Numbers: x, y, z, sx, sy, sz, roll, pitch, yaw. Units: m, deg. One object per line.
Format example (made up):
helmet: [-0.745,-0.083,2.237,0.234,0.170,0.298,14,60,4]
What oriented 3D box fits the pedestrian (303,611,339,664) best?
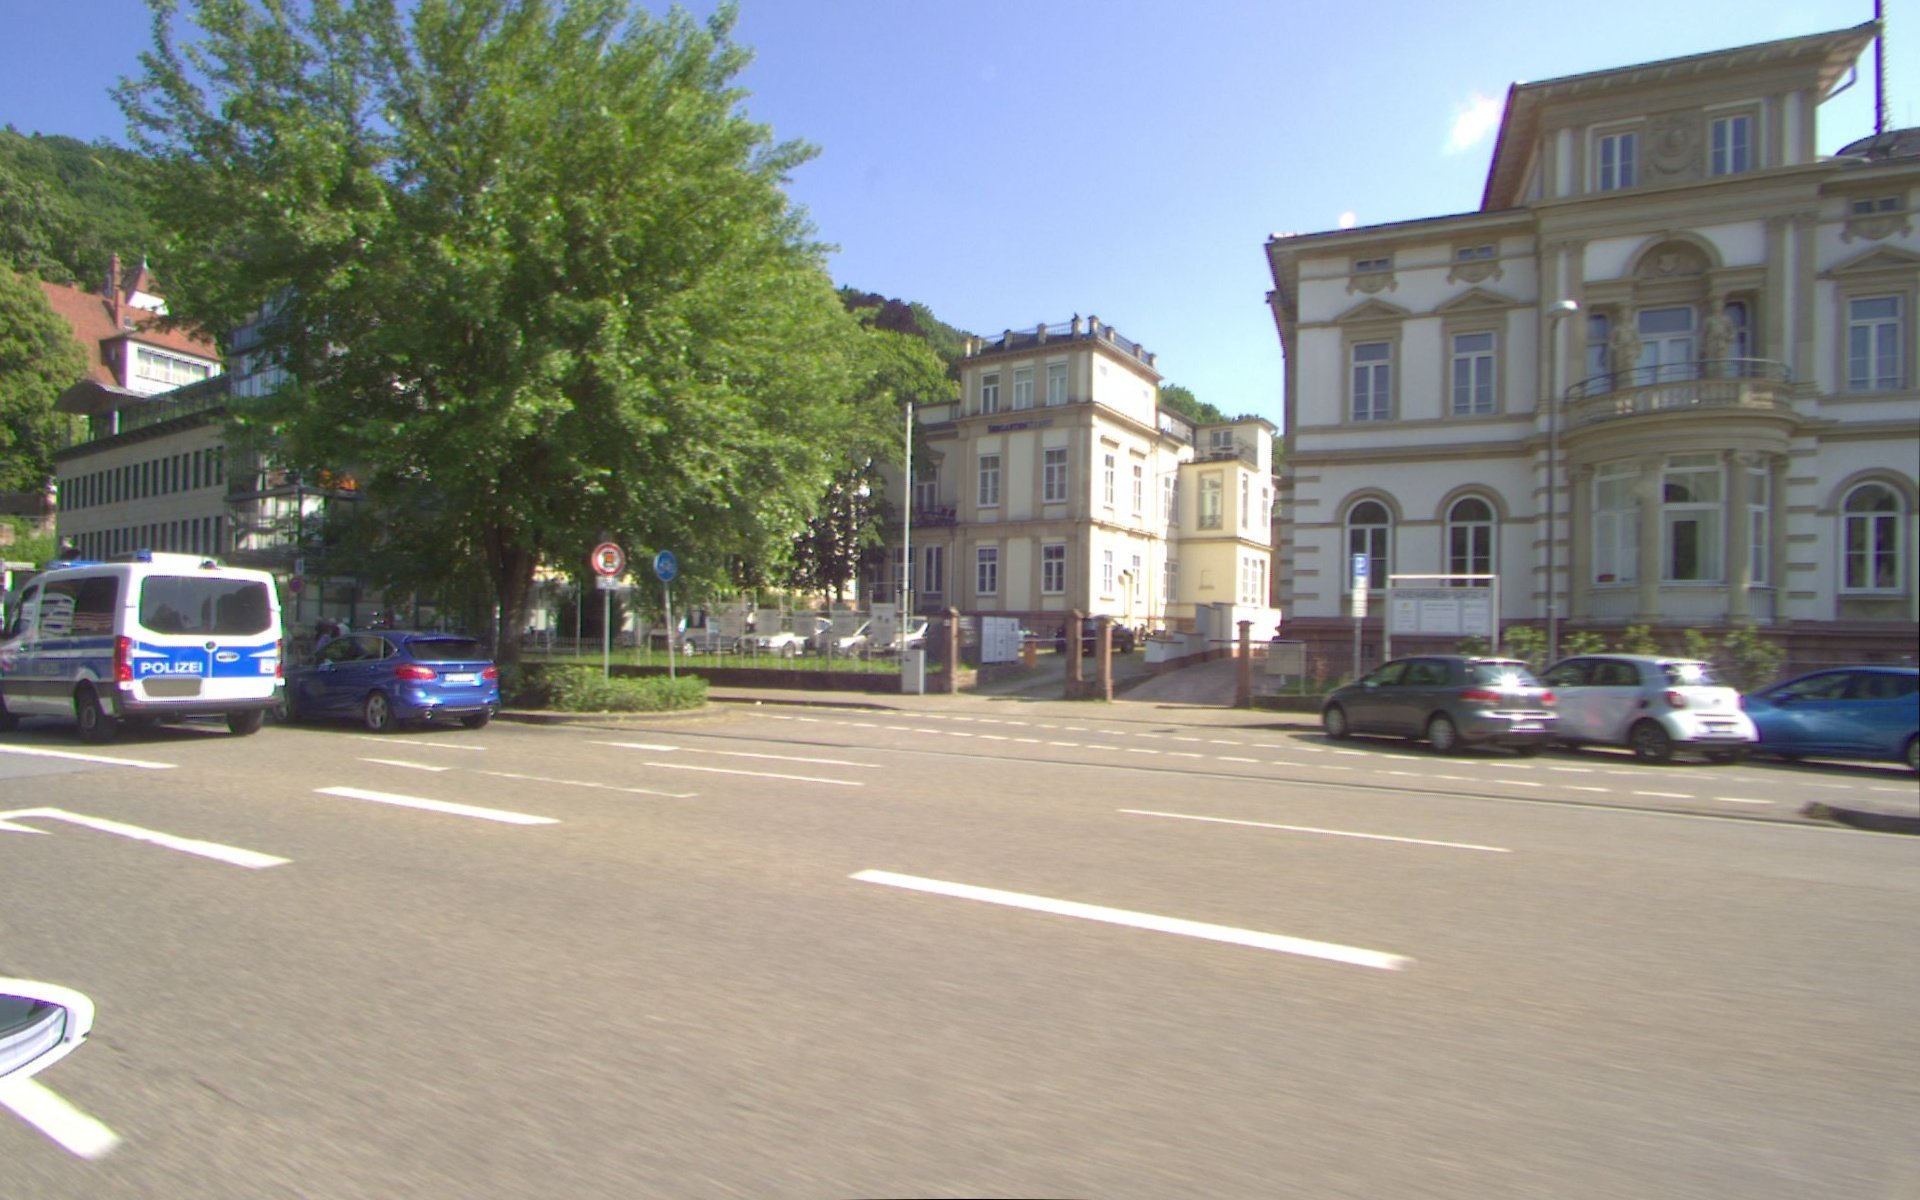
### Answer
pedestrian: [-22.724,1.332,35.596,0.817,1.878,0.770,0,-1,32]

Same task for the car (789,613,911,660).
car: [-3.407,1.137,31.719,1.794,1.353,4.082,0,-2,29]

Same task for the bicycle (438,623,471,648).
bicycle: [-23.297,1.628,46.166,1.809,1.099,0.536,0,-1,34]

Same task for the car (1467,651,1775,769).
car: [10.072,1.608,15.616,1.684,1.530,3.805,2,-2,-18]

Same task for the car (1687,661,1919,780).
car: [12.877,1.666,14.256,1.685,1.460,3.802,2,-2,-21]

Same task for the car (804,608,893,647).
car: [-4.909,1.235,44.849,1.794,1.624,4.304,0,-1,29]

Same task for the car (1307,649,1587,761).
car: [7.574,1.583,16.079,1.795,1.480,4.103,2,-2,-15]

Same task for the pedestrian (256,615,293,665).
pedestrian: [-23.489,1.379,34.308,0.817,1.684,0.770,0,-1,33]

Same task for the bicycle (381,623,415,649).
bicycle: [-24.734,1.563,44.073,1.809,1.099,0.536,0,-1,34]

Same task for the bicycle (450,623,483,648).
bicycle: [-23.020,1.644,46.677,1.809,1.099,0.536,0,-1,34]

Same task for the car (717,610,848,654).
car: [-5.717,1.038,32.774,1.794,1.353,4.462,0,-2,29]

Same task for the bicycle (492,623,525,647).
bicycle: [-21.681,1.689,48.067,1.809,1.099,0.536,0,-1,34]

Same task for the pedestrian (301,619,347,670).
pedestrian: [-20.652,1.430,32.513,0.734,1.601,1.113,0,-1,45]

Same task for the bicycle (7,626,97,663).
bicycle: [-28.896,1.409,31.891,0.749,1.127,2.065,0,-2,44]

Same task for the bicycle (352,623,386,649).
bicycle: [-25.412,1.530,43.039,1.809,1.099,0.536,0,-1,34]

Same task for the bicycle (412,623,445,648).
bicycle: [-23.944,1.595,45.103,1.809,1.099,0.536,0,-1,34]

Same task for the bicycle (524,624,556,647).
bicycle: [-20.836,1.737,49.661,1.809,1.099,0.536,0,-1,34]

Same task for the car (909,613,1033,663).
car: [0.407,1.094,29.526,1.961,1.353,4.037,0,-2,29]

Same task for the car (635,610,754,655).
car: [-9.396,1.150,35.779,1.848,1.495,4.142,0,-1,27]

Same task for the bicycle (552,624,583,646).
bicycle: [-20.137,1.788,51.364,1.809,1.099,0.536,0,-1,34]

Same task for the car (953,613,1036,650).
car: [1.496,1.318,41.662,1.794,1.437,4.046,0,-2,29]

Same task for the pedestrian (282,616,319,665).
pedestrian: [-23.032,1.398,34.973,0.818,1.684,0.769,0,-1,33]

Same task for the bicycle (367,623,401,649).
bicycle: [-25.054,1.547,43.572,1.809,1.099,0.536,0,-1,34]

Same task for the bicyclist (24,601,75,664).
bicyclist: [-28.942,1.050,31.838,0.740,1.957,1.119,0,-2,44]

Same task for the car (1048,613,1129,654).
car: [5.249,1.346,40.470,1.837,1.529,4.046,0,-2,29]

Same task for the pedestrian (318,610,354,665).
pedestrian: [-21.973,1.315,35.251,0.817,1.878,0.770,0,-1,32]

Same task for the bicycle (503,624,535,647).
bicycle: [-21.412,1.705,48.612,1.809,1.099,0.536,0,-1,34]

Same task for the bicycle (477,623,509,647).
bicycle: [-22.201,1.674,47.607,1.809,1.099,0.536,0,-1,34]

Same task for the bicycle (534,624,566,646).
bicycle: [-20.565,1.754,50.219,1.809,1.099,0.536,0,-1,34]

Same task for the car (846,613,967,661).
car: [-1.571,1.126,30.658,1.832,1.353,4.037,0,-2,29]

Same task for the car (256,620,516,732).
car: [-9.423,1.178,16.383,4.205,1.560,1.719,1,-3,29]

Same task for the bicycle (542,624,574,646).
bicycle: [-20.407,1.772,50.825,1.809,1.099,0.536,0,-1,34]

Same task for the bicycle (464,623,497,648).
bicycle: [-22.545,1.657,47.061,1.809,1.099,0.536,0,-1,34]

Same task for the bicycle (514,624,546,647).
bicycle: [-21.121,1.721,49.130,1.809,1.099,0.536,0,-1,34]

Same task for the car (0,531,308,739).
car: [-11.805,0.490,14.399,4.855,2.540,2.071,0,-2,30]
